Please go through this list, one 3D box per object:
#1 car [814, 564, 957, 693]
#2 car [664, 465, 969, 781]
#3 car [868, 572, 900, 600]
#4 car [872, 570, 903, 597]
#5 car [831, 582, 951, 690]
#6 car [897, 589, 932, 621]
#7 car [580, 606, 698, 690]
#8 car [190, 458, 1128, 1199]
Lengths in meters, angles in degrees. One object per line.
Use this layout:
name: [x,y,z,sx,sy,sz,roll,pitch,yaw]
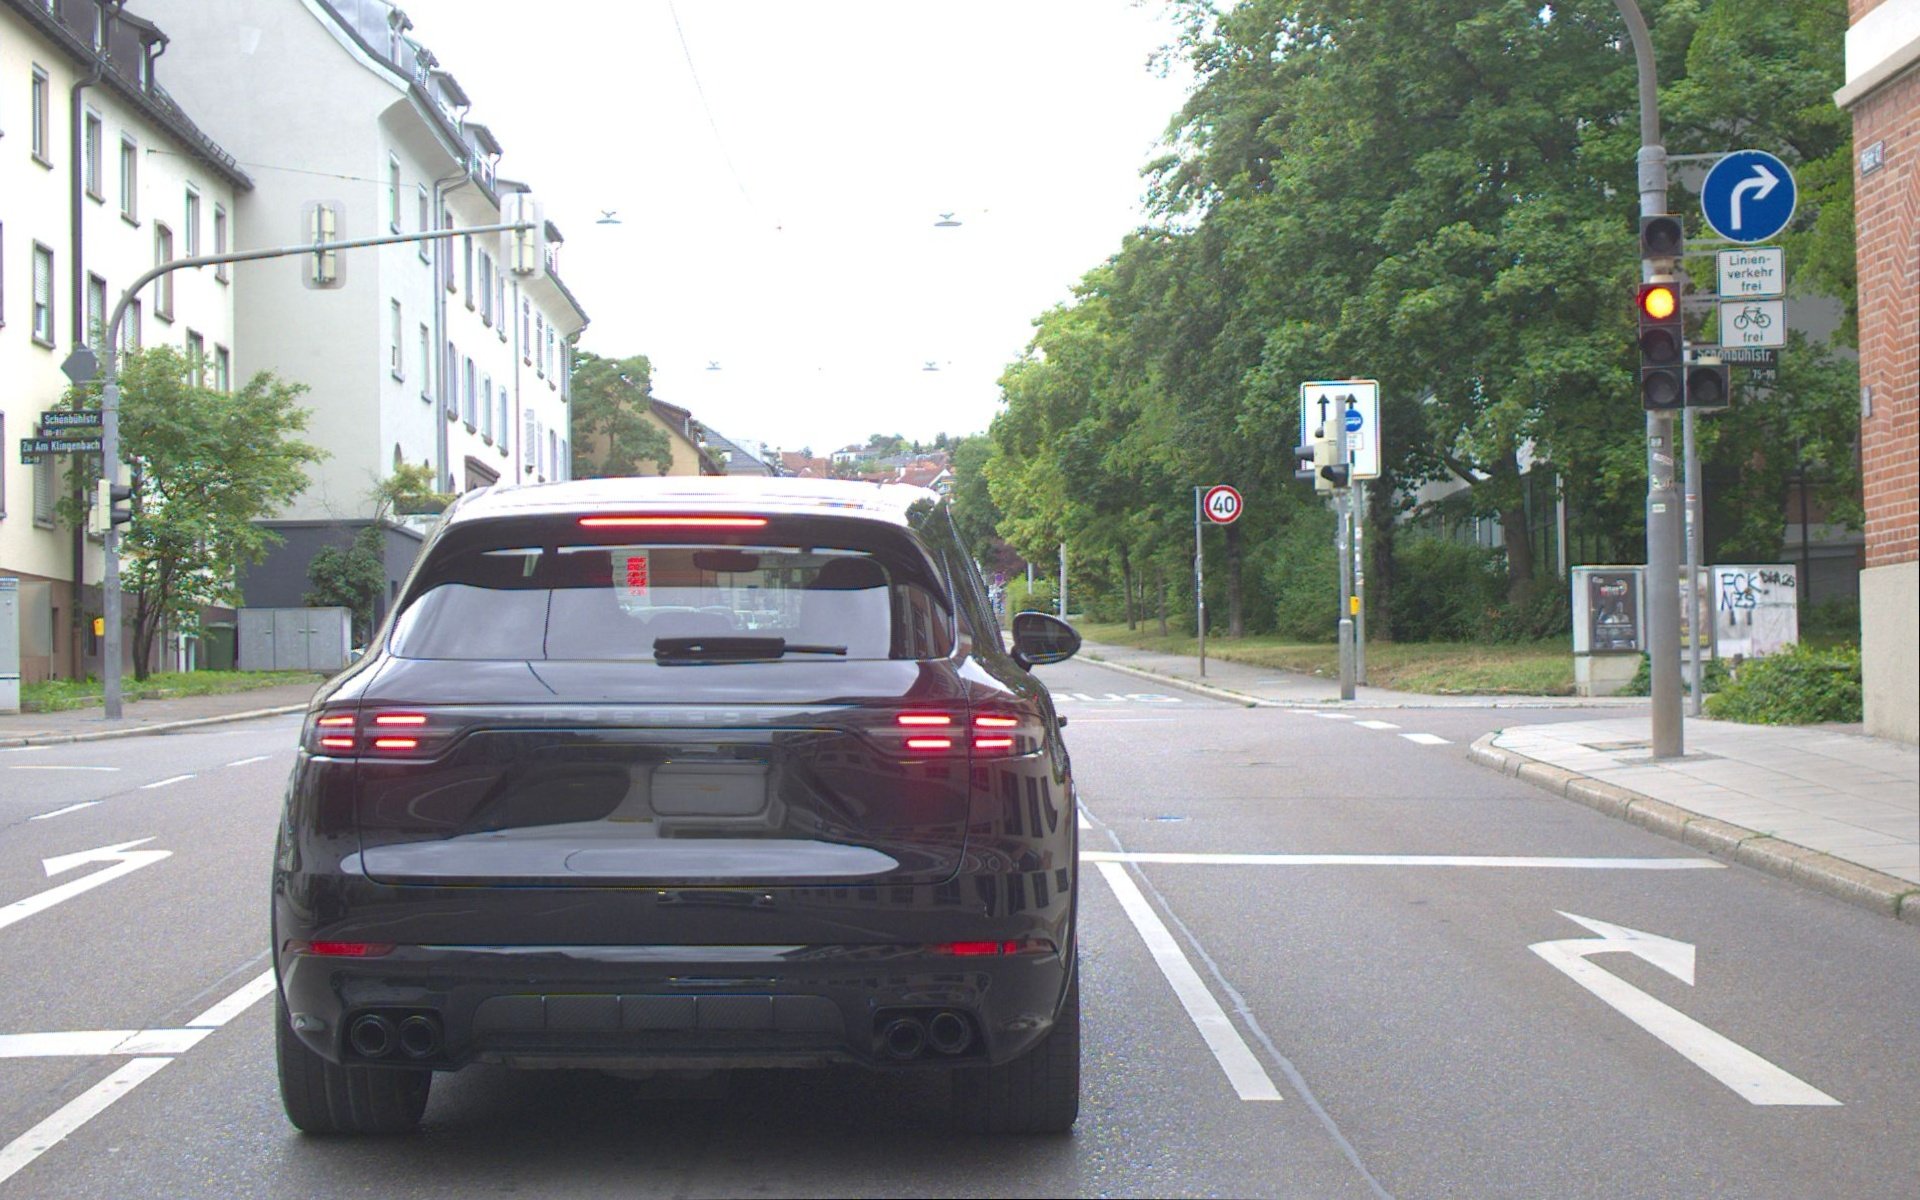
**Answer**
car: [-0.977,0.346,46.430,1.827,1.599,4.135,1,1,0]
car: [-0.951,0.110,24.504,1.965,2.035,4.135,1,1,0]
car: [-4.561,-0.839,205.550,1.827,1.599,4.135,1,1,0]
car: [-4.465,-1.007,212.876,1.827,1.599,4.135,1,1,0]
car: [-1.081,0.550,55.147,1.827,1.599,3.859,1,1,0]
car: [-2.454,0.247,185.090,1.827,1.599,4.135,1,1,0]
car: [-6.082,0.889,65.548,1.785,1.414,4.670,-3,0,0]
car: [-0.678,0.490,9.713,2.048,1.660,4.267,1,1,0]
